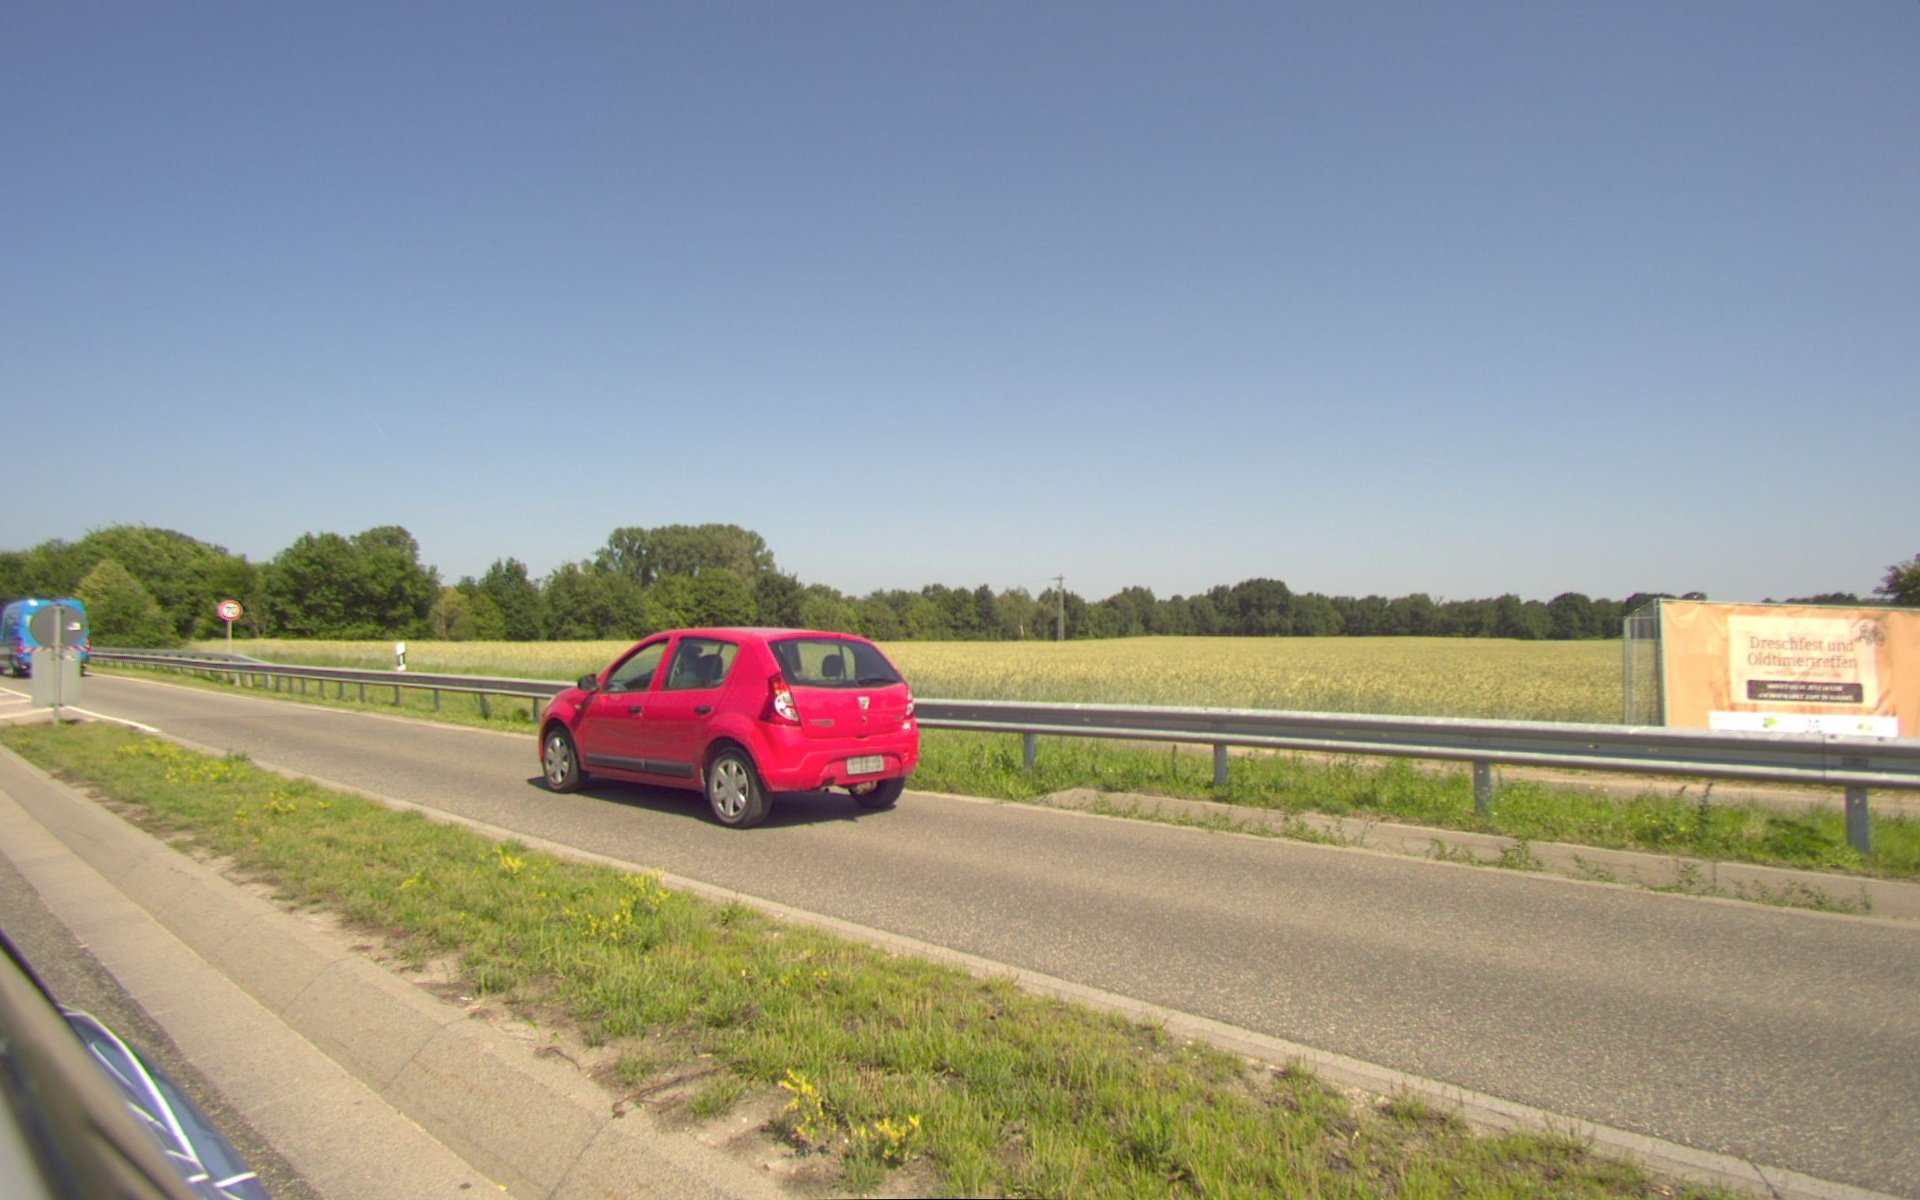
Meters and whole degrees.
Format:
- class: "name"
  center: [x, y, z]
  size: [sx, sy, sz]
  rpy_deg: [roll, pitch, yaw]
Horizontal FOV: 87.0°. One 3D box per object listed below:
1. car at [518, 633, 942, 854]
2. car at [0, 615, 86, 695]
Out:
- class: "car"
  center: [-2.110, 1.048, 8.771]
  size: [3.799, 1.502, 1.610]
  rpy_deg: [-1, -3, 40]
- class: "car"
  center: [-33.458, 1.963, 36.519]
  size: [7.288, 2.631, 1.972]
  rpy_deg: [-2, -4, 42]
